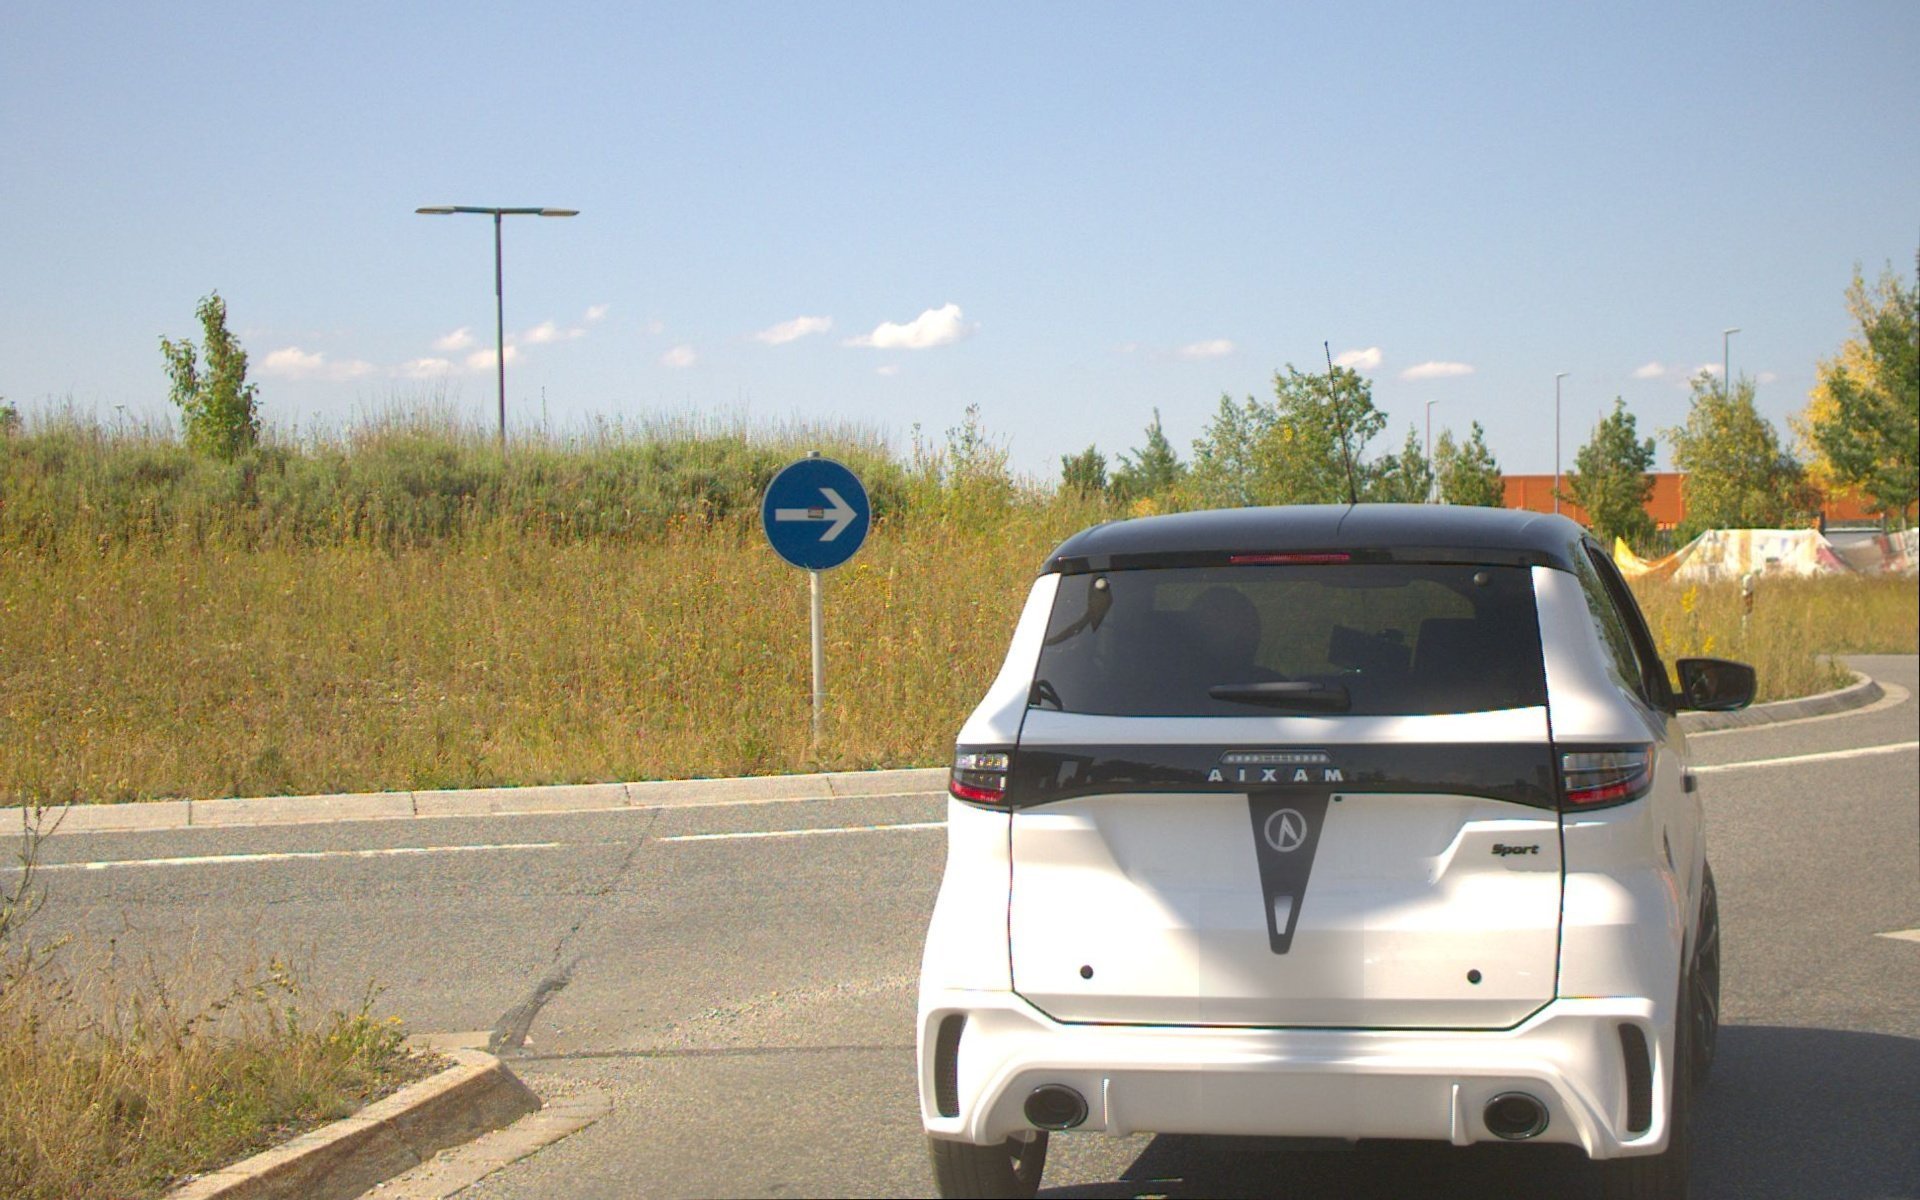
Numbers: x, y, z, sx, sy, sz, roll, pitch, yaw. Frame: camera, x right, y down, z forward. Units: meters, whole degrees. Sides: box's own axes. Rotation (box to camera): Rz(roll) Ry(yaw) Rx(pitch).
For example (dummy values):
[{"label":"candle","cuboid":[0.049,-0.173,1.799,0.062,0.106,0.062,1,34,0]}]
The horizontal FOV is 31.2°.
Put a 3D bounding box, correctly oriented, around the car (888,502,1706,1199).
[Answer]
[{"label":"car","cuboid":[0.964,0.519,8.022,1.510,1.435,3.349,0,3,12]}]
